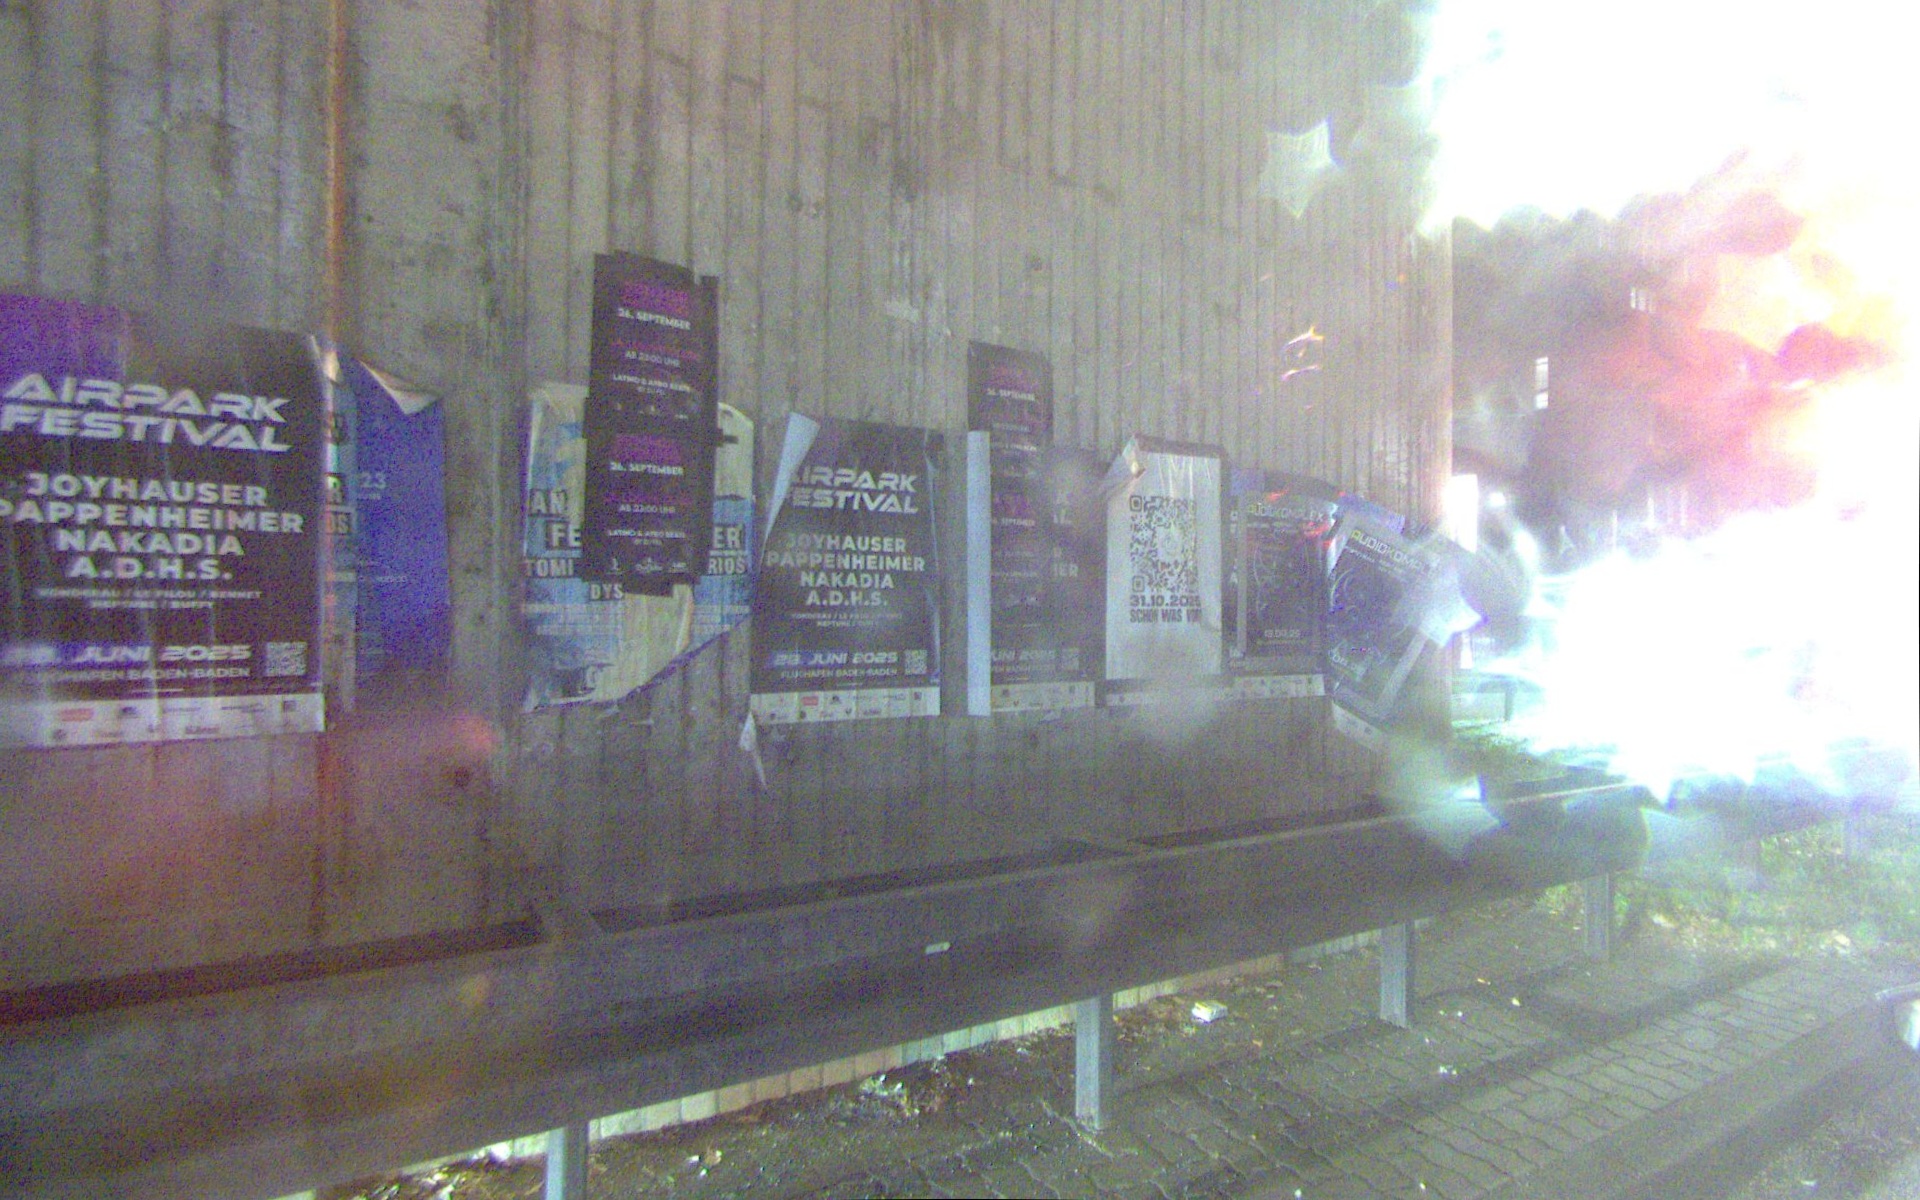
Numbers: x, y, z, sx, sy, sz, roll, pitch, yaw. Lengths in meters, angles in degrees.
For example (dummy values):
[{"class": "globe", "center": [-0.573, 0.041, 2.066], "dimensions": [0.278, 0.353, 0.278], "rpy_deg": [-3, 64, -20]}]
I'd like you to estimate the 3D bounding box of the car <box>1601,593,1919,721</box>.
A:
[{"class": "car", "center": [14.131, 0.934, 17.132], "dimensions": [5.006, 2.011, 2.001], "rpy_deg": [0, -1, 9]}]
